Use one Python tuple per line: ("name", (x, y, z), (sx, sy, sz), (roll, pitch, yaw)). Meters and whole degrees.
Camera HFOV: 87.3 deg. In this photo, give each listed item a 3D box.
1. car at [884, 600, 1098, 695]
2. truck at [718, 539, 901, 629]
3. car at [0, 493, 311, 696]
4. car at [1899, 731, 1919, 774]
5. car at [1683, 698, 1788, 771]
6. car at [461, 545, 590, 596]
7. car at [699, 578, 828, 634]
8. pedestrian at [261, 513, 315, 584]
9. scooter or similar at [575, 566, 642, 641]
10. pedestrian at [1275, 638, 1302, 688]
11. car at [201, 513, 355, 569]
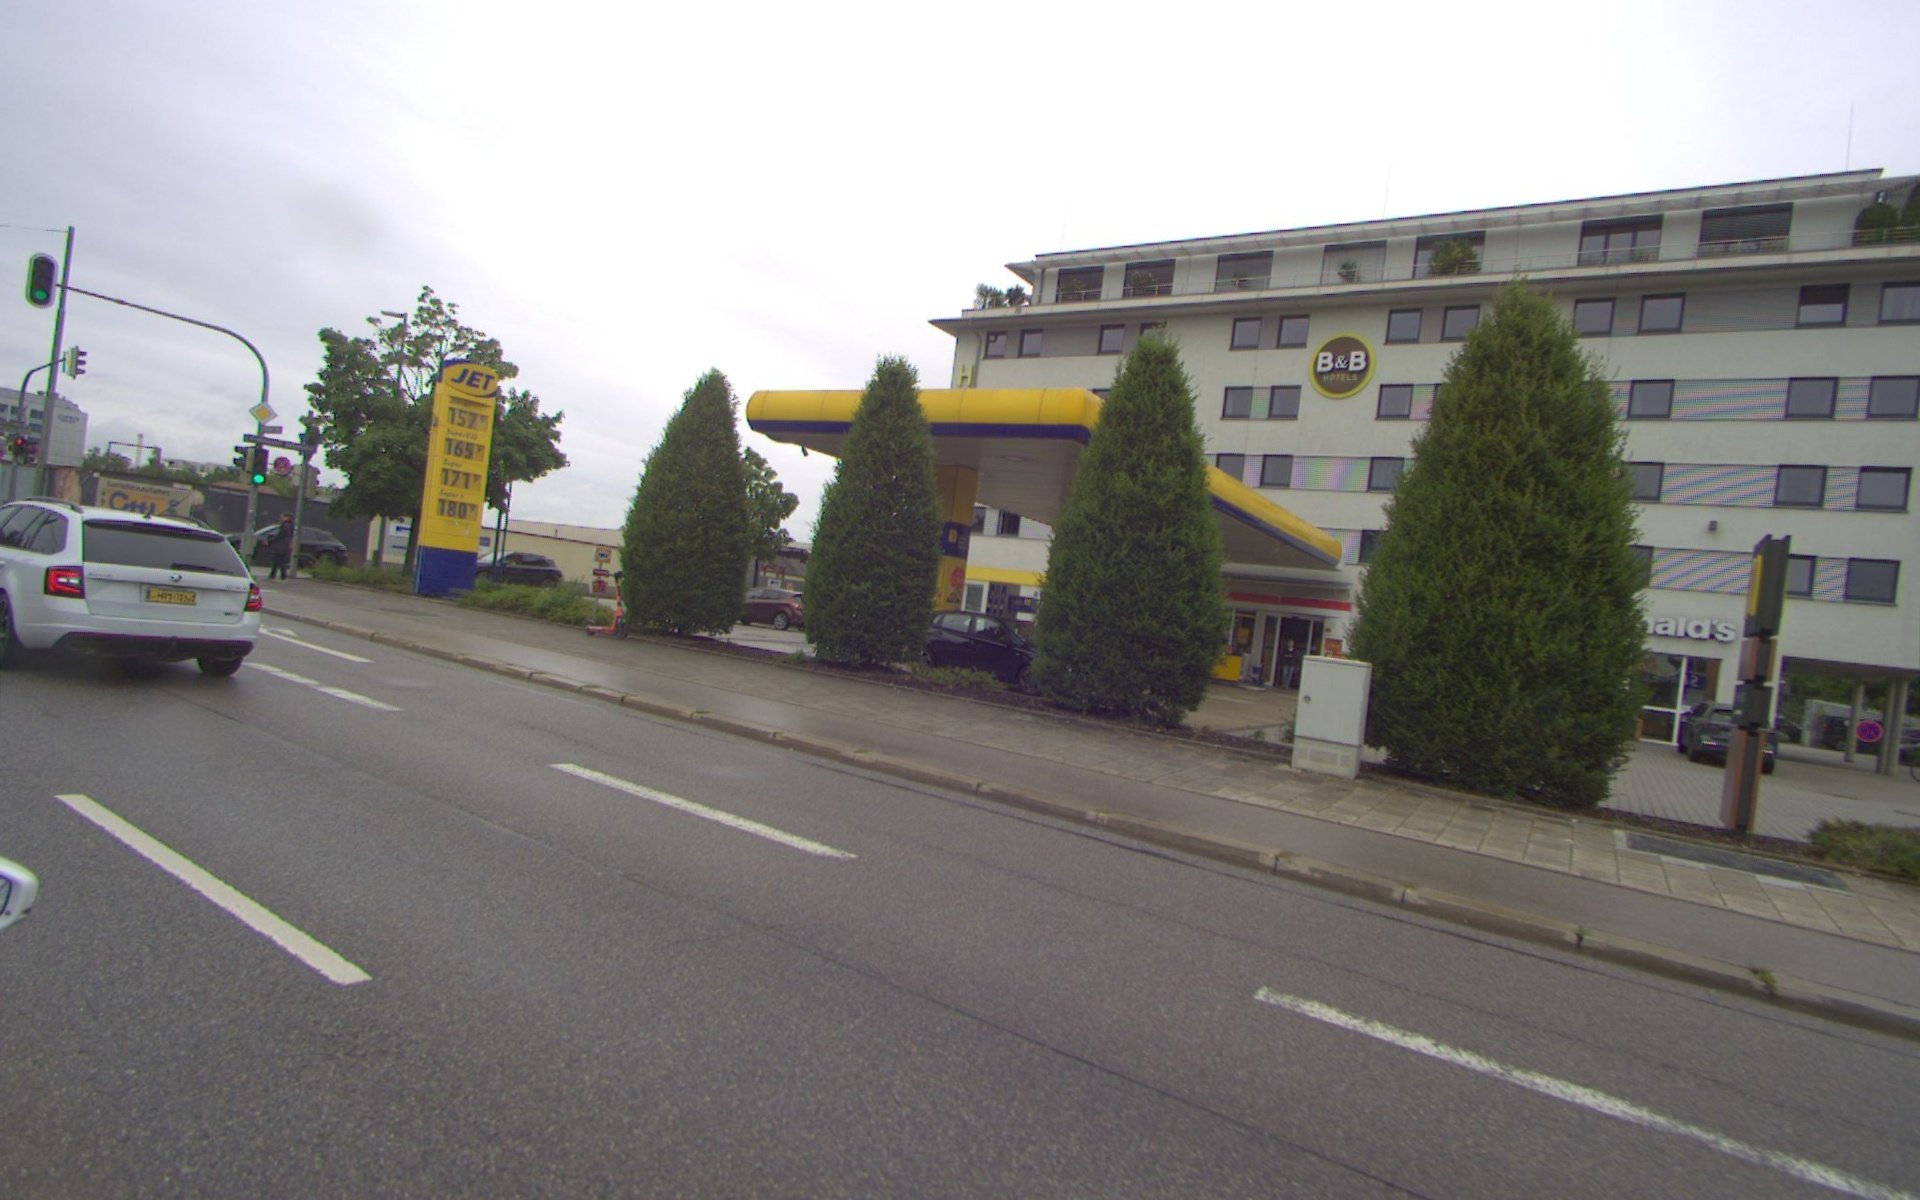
("car", (0.605, 0.963, 20.733), (3.934, 1.347, 1.798), (7, -2, 32))
("truck", (-8.308, -0.747, 58.112), (2.569, 3.902, 11.900), (7, 0, 36))
("car", (-8.448, -0.161, 9.804), (4.430, 1.485, 1.880), (7, -2, 34))
("car", (41.940, 6.660, 41.816), (3.939, 1.729, 1.652), (7, -2, 37))
("car", (21.237, 3.619, 27.696), (1.678, 1.606, 3.993), (7, -1, 31))
("car", (-18.550, -1.232, 43.110), (1.969, 1.551, 4.618), (7, -1, 36))
("car", (-7.165, 0.222, 36.704), (4.284, 1.400, 1.704), (7, -1, 24))
("pedestrian", (-16.558, -1.255, 24.791), (0.676, 1.636, 0.802), (7, 3, 33))
("scooter or similar", (-6.699, 0.055, 19.136), (1.522, 1.259, 0.355), (7, 3, 38))
("pedestrian", (12.250, 2.346, 37.503), (0.632, 1.749, 0.708), (7, -1, 29))
("car", (-25.260, -2.154, 37.365), (1.969, 1.445, 4.251), (7, -1, 36))
